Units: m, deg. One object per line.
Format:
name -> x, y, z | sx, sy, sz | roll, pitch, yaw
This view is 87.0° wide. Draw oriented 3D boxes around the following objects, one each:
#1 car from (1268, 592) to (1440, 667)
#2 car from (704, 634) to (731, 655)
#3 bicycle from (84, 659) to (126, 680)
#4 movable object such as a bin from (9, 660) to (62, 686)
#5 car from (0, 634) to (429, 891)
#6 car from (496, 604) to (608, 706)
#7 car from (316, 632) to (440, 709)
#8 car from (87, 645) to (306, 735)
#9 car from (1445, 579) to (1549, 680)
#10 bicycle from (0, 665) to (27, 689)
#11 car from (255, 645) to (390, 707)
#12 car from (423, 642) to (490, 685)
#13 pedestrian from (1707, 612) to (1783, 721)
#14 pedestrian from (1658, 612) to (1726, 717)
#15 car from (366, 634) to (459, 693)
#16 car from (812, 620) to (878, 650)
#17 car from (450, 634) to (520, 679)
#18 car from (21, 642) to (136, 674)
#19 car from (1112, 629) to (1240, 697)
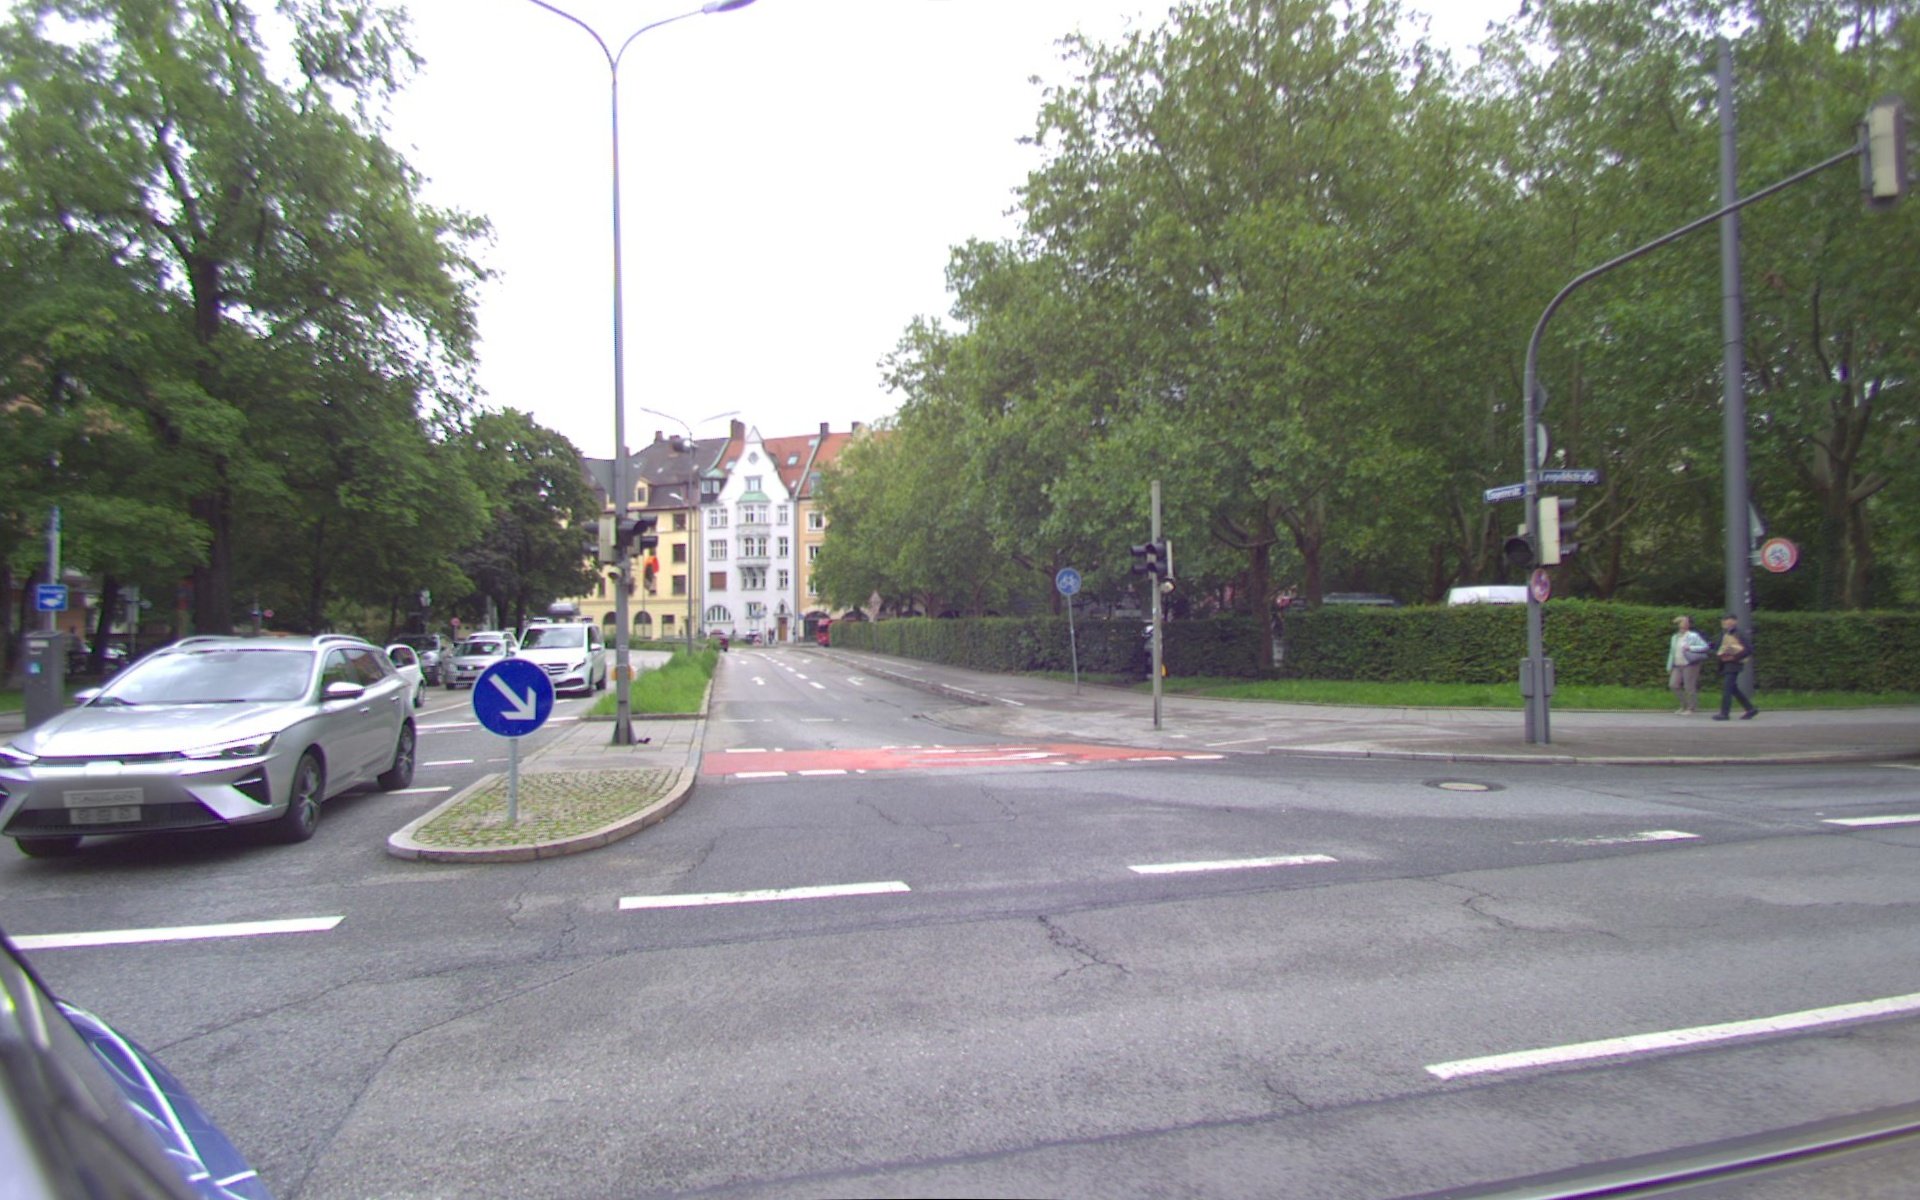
car -> 14.880, 1.083, 38.338 | 5.769, 2.554, 2.004 | -2, -1, -10
car -> -19.542, 3.621, 81.490 | 2.075, 1.650, 4.952 | 1, -3, -14
bicycle -> -32.705, 2.643, 38.719 | 0.318, 0.729, 1.166 | -3, -1, 31
movable object such as a bin -> -32.864, 2.582, 35.985 | 1.163, 0.879, 0.774 | 0, -2, -5
car -> -5.917, 1.077, 8.446 | 1.746, 1.536, 4.220 | -1, -1, -15
car -> -10.393, 1.360, 26.143 | 1.882, 2.369, 4.957 | 0, -2, -13
car -> -13.165, 1.522, 23.133 | 1.746, 1.536, 4.222 | -1, -1, -20
car -> -15.395, 1.738, 20.754 | 1.806, 1.561, 4.565 | 0, -2, -12
car -> 13.050, 0.845, 24.627 | 1.991, 2.029, 4.583 | -2, -7, 28
bicycle -> -29.772, 2.404, 31.610 | 1.167, 0.729, 0.317 | -2, -1, 14
car -> -16.921, 1.960, 27.126 | 1.743, 1.472, 4.655 | 0, -2, -15
car -> -19.568, 2.425, 39.442 | 1.499, 1.561, 3.671 | 0, -2, -13
pedestrian -> 12.382, 1.034, 15.974 | 0.650, 1.676, 0.688 | 1, -2, -25
pedestrian -> 12.021, 1.039, 16.636 | 0.545, 1.676, 0.688 | 1, -2, -25
car -> -18.394, 2.069, 34.210 | 1.904, 1.833, 4.568 | 0, -2, -17
car -> -10.335, 3.218, 91.281 | 2.110, 2.609, 5.993 | -3, -4, 43
car -> -21.121, 2.458, 45.205 | 1.819, 1.870, 5.036 | 0, -2, -13
car -> -46.751, 3.050, 53.759 | 4.377, 1.477, 1.863 | -2, -1, -3
car -> 6.398, 1.804, 29.882 | 3.465, 1.777, 1.781 | -1, -1, -37
